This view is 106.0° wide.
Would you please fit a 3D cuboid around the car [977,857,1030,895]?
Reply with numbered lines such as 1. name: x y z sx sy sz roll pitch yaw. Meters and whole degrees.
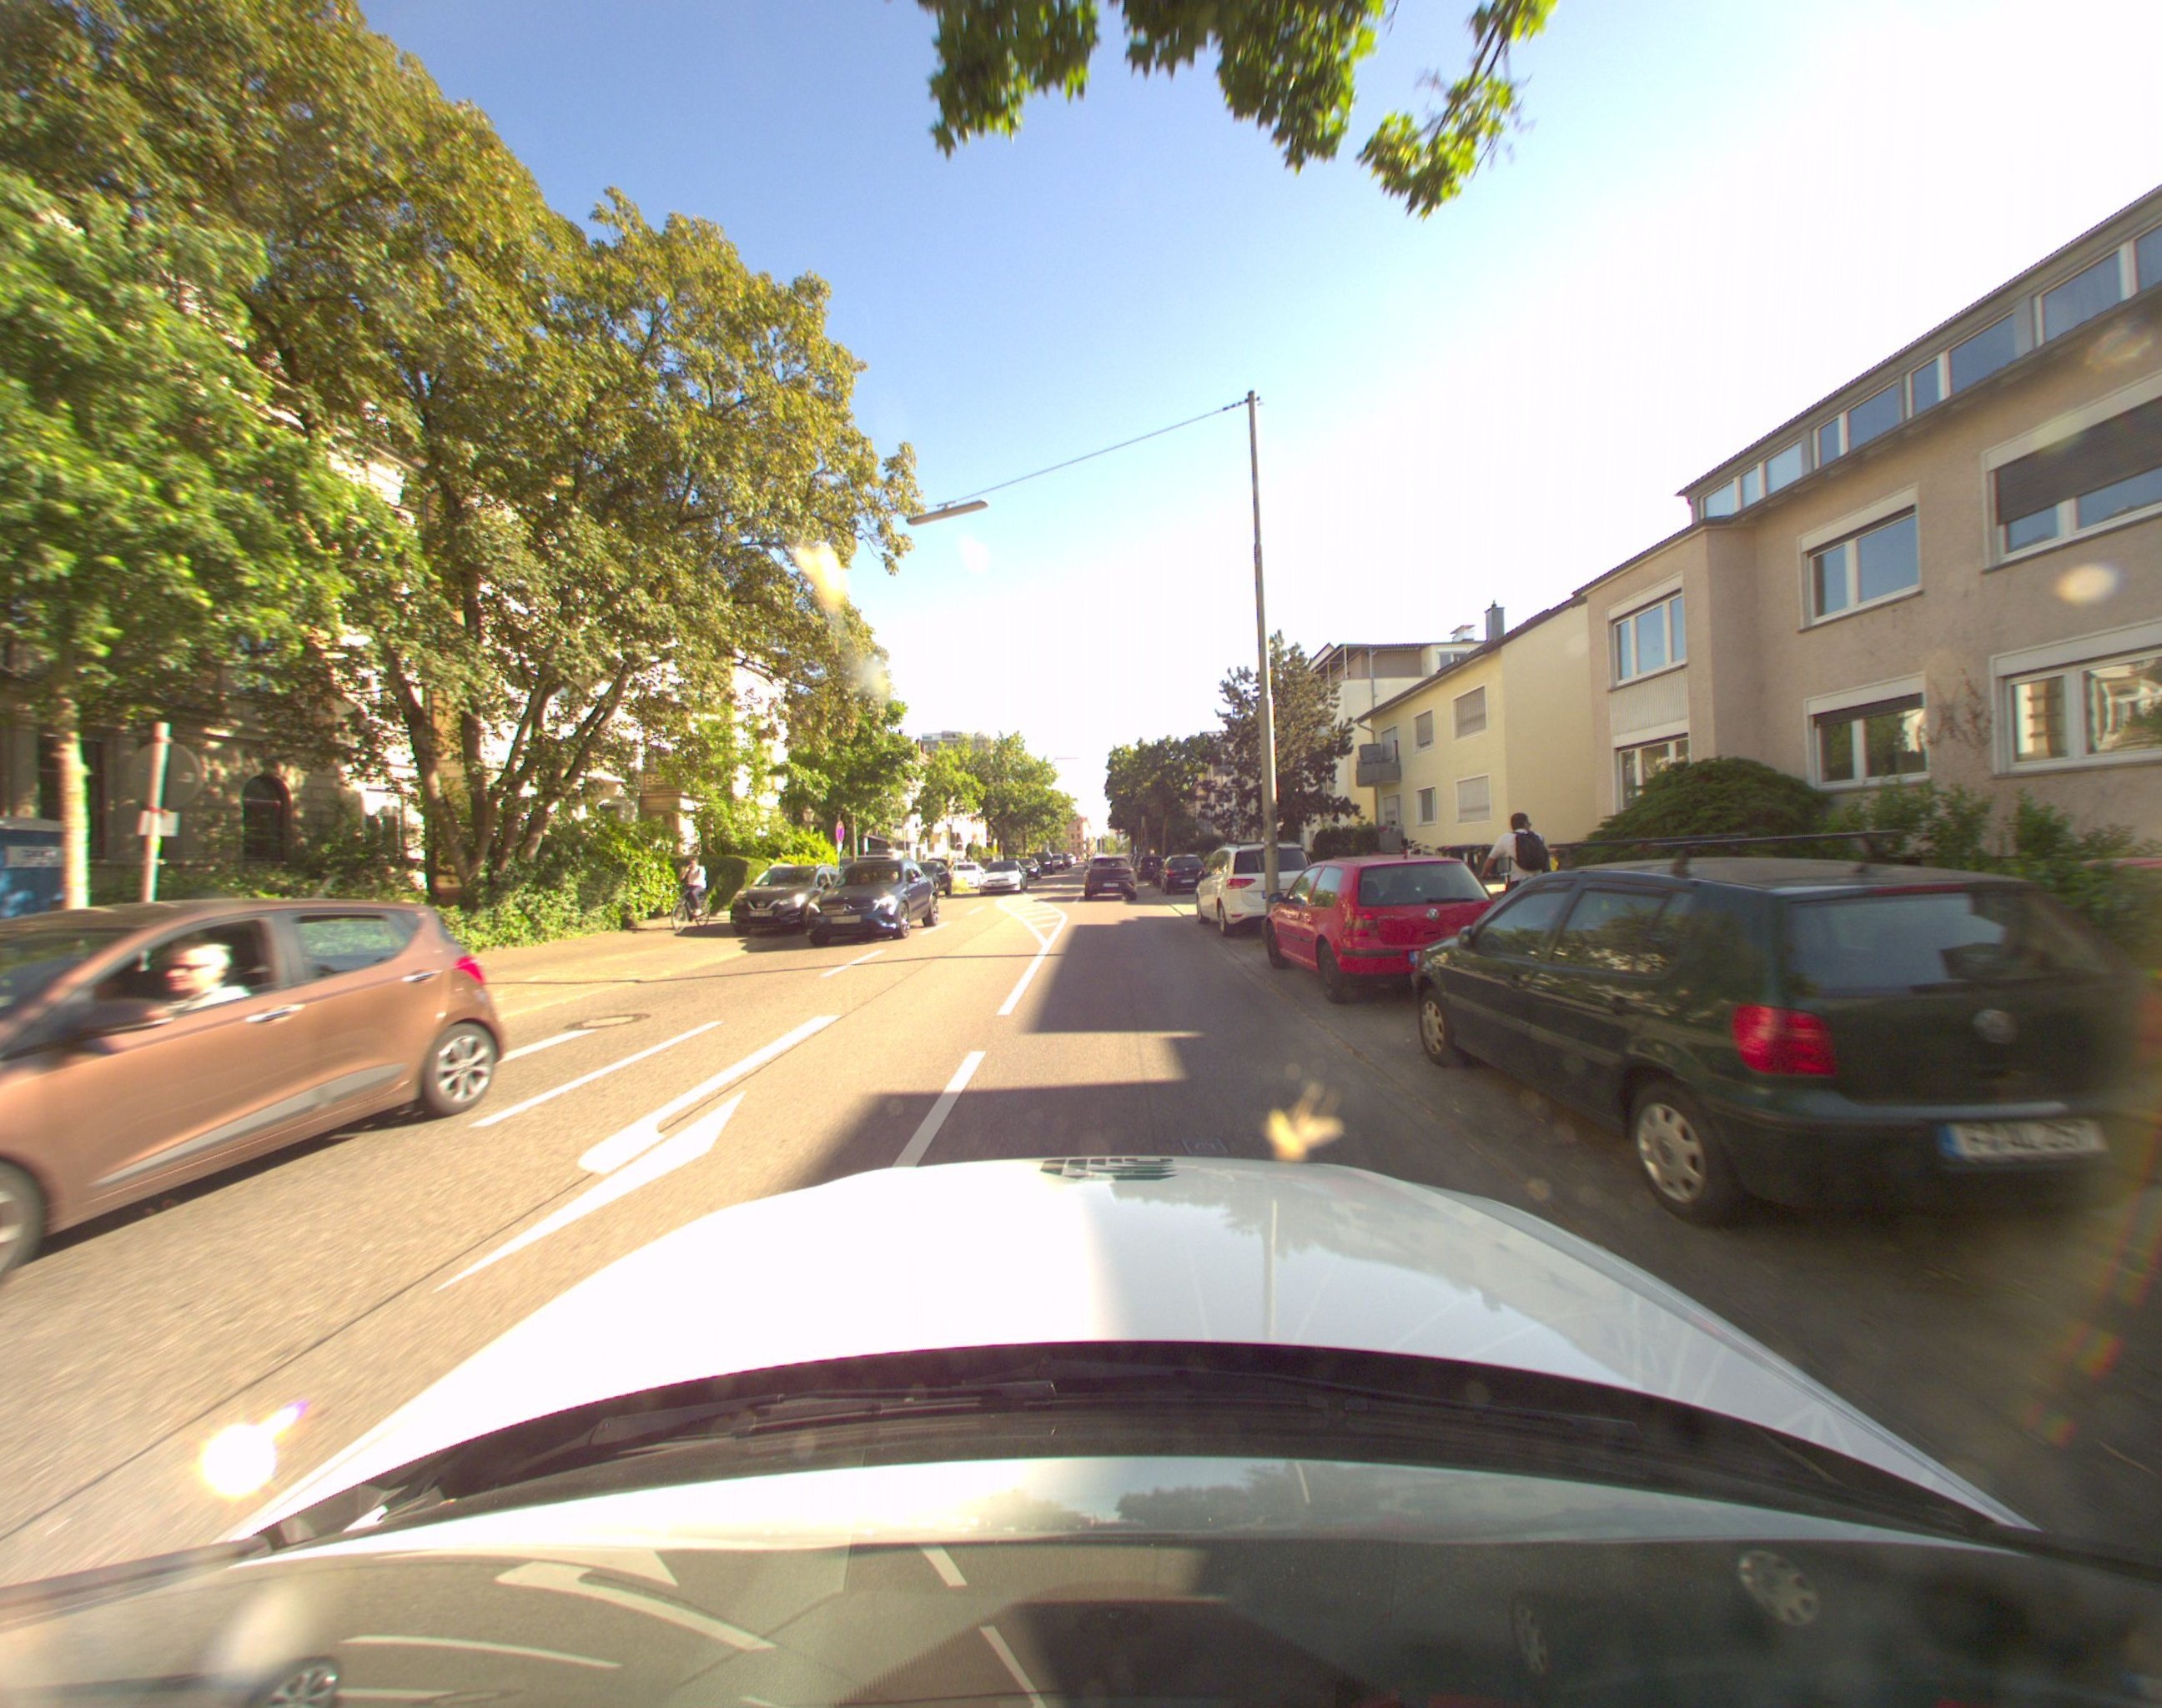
1. car: -3.334 0.932 35.823 1.727 1.412 4.193 -4 0 2

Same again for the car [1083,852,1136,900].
1. car: 0.992 0.737 28.721 1.739 1.573 3.559 -1 0 1

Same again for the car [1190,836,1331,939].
1. car: 3.343 0.568 16.032 1.763 1.659 4.341 -3 0 0

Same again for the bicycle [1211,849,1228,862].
1. bicycle: 13.923 0.155 81.662 1.520 1.222 0.466 -5 0 32

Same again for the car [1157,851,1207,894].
1. car: 3.867 0.662 31.612 1.613 1.499 3.652 -3 0 3

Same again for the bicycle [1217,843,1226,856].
1. bicycle: 14.365 -0.457 83.209 0.589 1.287 1.690 -5 0 2

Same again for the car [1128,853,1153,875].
1. car: 4.330 0.702 59.365 1.684 1.428 4.152 -3 0 4

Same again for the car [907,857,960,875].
1. car: -12.442 1.002 68.900 3.962 1.461 1.738 -1 0 10

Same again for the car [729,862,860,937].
1. car: -6.916 1.029 20.171 1.619 1.588 4.348 -1 0 1

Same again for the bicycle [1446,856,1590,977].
1. bicycle: 5.084 0.666 9.618 0.695 1.247 1.822 -3 0 2

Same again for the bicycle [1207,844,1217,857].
1. bicycle: 13.420 -0.389 83.451 0.620 1.287 1.843 -5 0 2

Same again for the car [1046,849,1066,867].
1. car: -2.638 0.435 86.834 1.809 1.743 4.494 -4 0 1

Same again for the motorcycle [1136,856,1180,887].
1. motorcycle: 3.375 0.771 35.921 0.701 1.271 2.411 -4 0 -26

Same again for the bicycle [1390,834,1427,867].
1. bicycle: 14.045 -0.146 34.975 0.595 1.303 2.426 -3 0 2

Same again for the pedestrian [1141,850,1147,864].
1. pedestrian: 7.569 0.375 97.771 0.667 1.682 0.776 -3 0 1

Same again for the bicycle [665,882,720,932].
1. bicycle: -9.480 1.265 19.933 0.447 1.116 1.765 0 0 1

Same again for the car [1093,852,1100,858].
1. car: 3.835 0.250 202.554 1.765 1.452 3.887 -2 0 2

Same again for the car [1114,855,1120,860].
1. car: 11.089 1.023 250.223 1.985 1.519 4.003 0 0 3

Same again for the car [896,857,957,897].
1. car: -6.709 0.963 35.714 1.671 1.555 4.010 -1 0 3

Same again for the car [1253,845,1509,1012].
1. car: 3.145 0.678 9.316 1.527 1.449 3.718 -3 0 0

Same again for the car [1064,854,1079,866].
1. car: -1.371 0.863 118.807 1.800 1.648 4.673 -5 0 1

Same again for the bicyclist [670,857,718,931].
1. bicyclist: -9.478 0.957 19.991 0.580 1.767 1.208 0 0 1

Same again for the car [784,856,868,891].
1. car: -12.983 0.960 41.517 3.924 1.644 1.667 -2 0 -23

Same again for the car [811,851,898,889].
1. car: -12.409 0.838 44.584 4.334 1.879 1.865 -2 0 -24

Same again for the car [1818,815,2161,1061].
1. car: 7.003 0.461 5.021 1.526 1.356 3.719 -5 0 1

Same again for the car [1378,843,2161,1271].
1. car: 3.093 0.675 4.575 1.526 1.356 3.719 -3 0 1

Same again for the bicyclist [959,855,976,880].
1. bicyclist: -8.575 1.014 61.503 1.041 1.824 0.665 -3 -1 39

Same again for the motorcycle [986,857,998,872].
1. motorcycle: -7.162 0.822 65.397 0.458 1.125 1.722 -1 0 10

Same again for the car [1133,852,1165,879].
1. car: 3.950 0.648 47.870 1.580 1.396 4.456 -4 0 2

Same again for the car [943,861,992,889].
1. car: -6.164 1.118 44.683 1.827 1.389 4.803 -1 0 1

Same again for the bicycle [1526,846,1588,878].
1. bicycle: 15.310 0.249 26.197 1.777 1.014 0.501 -1 0 -7

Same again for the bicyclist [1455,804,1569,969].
1. bicyclist: 5.029 0.364 9.577 0.721 1.793 1.016 -3 0 1

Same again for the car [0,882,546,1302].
1. car: -4.815 0.990 4.140 1.576 1.451 3.745 -4 0 1

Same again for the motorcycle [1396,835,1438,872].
1. motorcycle: 13.133 -0.015 31.935 0.634 1.375 2.426 -3 0 2

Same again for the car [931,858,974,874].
1. car: -12.713 1.150 80.693 3.973 1.486 1.881 -1 0 0

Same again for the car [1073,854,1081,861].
1. car: -0.979 0.880 205.909 1.784 1.617 4.002 -2 0 2

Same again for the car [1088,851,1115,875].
1. car: 1.499 0.616 59.098 1.823 1.578 3.841 -2 0 2

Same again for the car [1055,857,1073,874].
1. car: -2.067 1.349 97.921 1.796 1.910 4.713 -5 0 2

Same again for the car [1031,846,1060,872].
1. car: -2.950 0.379 68.997 2.009 1.952 5.179 -4 0 1

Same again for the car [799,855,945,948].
1. car: -4.332 0.901 17.652 1.830 1.613 4.401 -4 0 1

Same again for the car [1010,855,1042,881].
1. car: -3.577 0.890 53.780 1.685 1.453 4.174 -5 0 1
